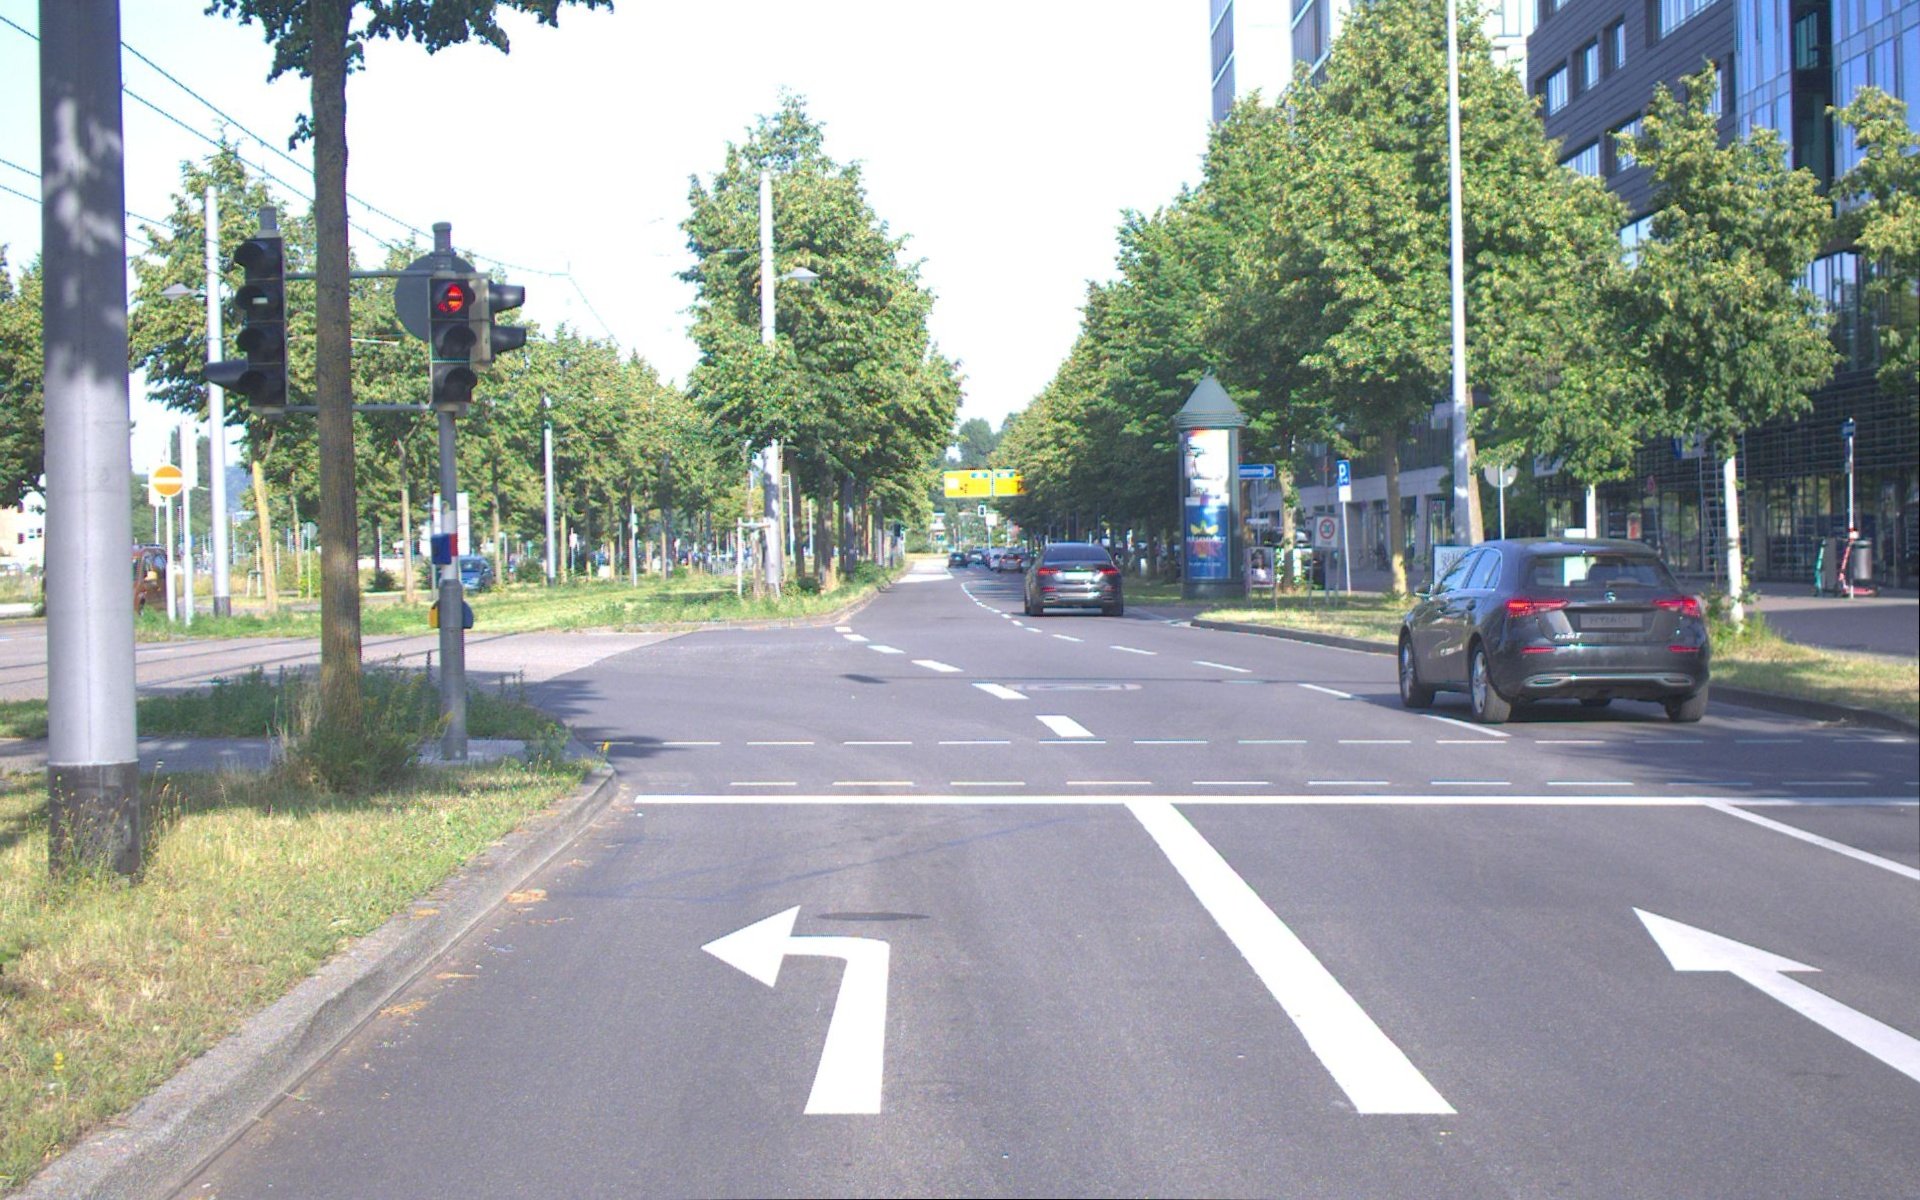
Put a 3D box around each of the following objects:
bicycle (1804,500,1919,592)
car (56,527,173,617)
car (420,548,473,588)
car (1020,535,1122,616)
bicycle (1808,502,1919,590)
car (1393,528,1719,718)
[{"bbox_3d":[18.623,-1.107,70.303,2.565,1.851,0.569,1,0,9],"label":"bicycle"},{"bbox_3d":[-17.360,-0.585,70.716,1.684,1.769,3.883,1,1,-4],"label":"car"},{"bbox_3d":[-19.360,-1.213,129.763,1.638,1.438,3.957,1,1,-4],"label":"car"},{"bbox_3d":[2.161,-0.492,67.924,1.859,1.519,3.786,1,1,0],"label":"car"},{"bbox_3d":[18.373,-1.082,69.296,2.436,1.740,0.554,1,0,9],"label":"bicycle"},{"bbox_3d":[4.772,0.156,28.043,1.774,1.419,3.961,1,1,-3],"label":"car"}]
